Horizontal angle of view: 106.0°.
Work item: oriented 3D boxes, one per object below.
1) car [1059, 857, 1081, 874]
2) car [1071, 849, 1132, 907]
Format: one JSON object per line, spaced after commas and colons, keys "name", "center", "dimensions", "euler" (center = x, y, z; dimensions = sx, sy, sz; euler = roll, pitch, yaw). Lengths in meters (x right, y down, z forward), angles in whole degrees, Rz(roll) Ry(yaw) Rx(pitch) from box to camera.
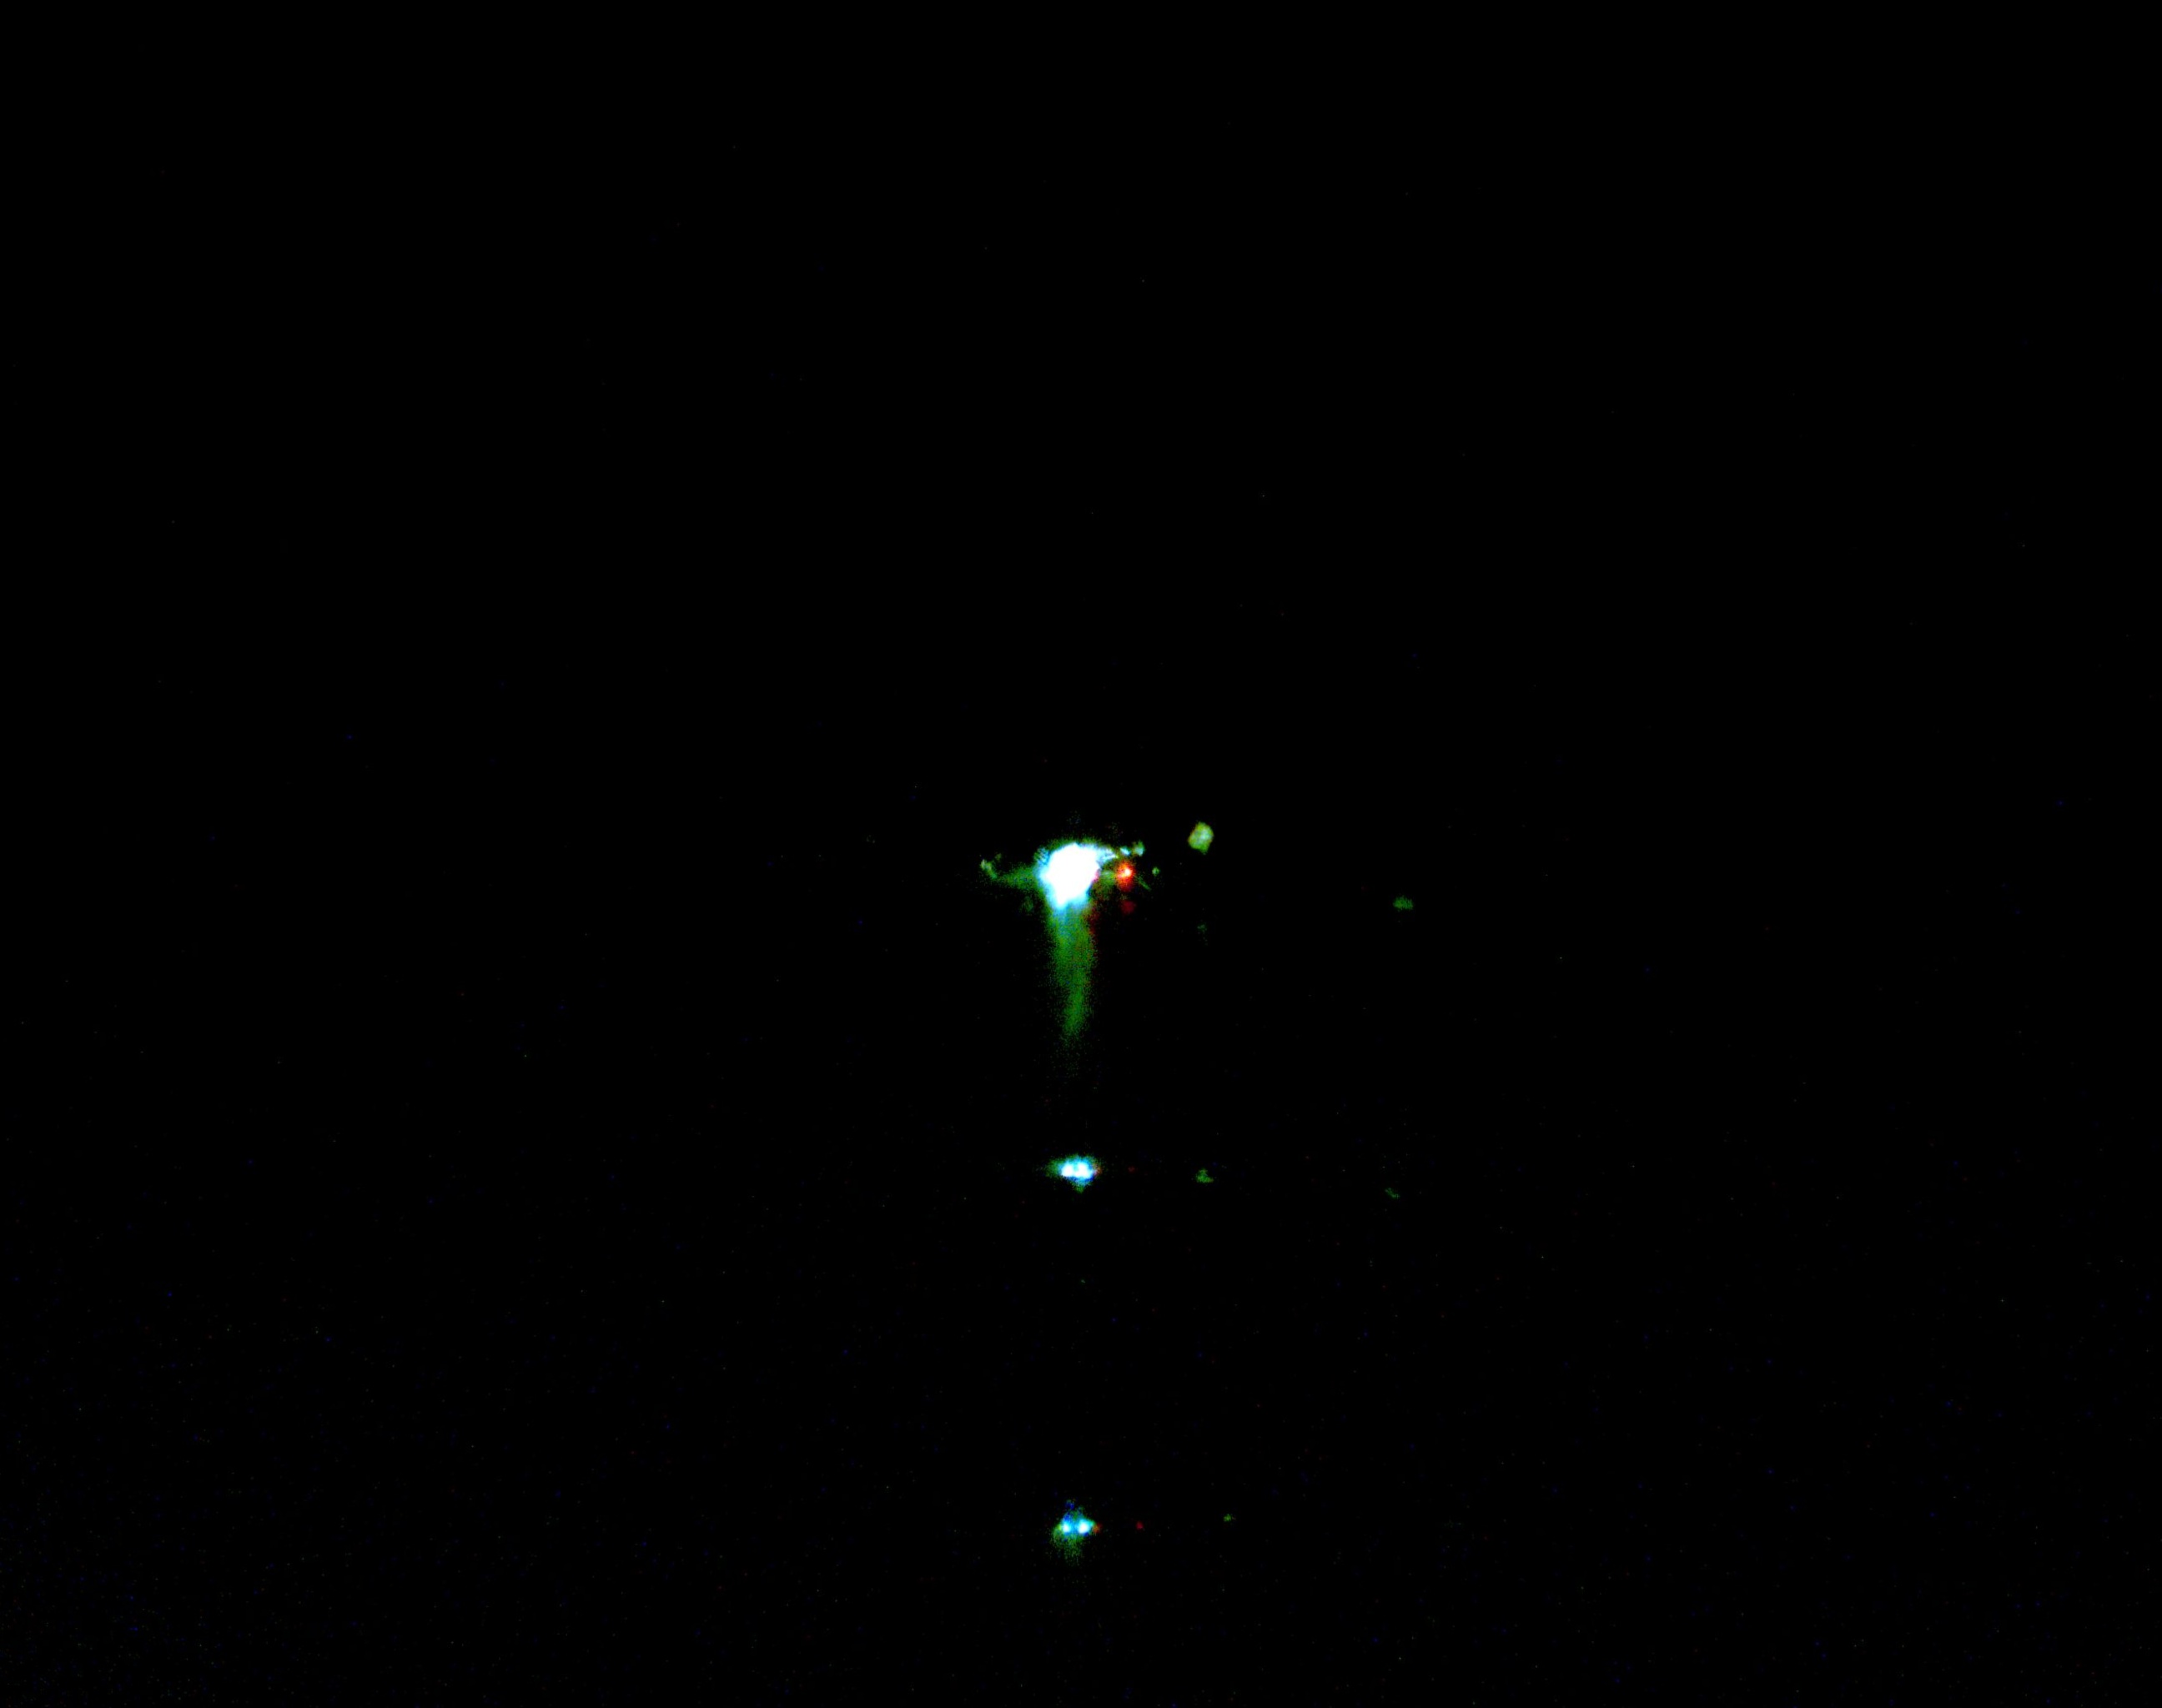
{"name": "car", "center": [-1.054, 0.999, 73.748], "dimensions": [1.743, 1.426, 3.680], "euler": [-2, 0, -4]}
{"name": "car", "center": [0.705, 0.847, 30.581], "dimensions": [2.087, 2.013, 3.998], "euler": [0, 0, -2]}
